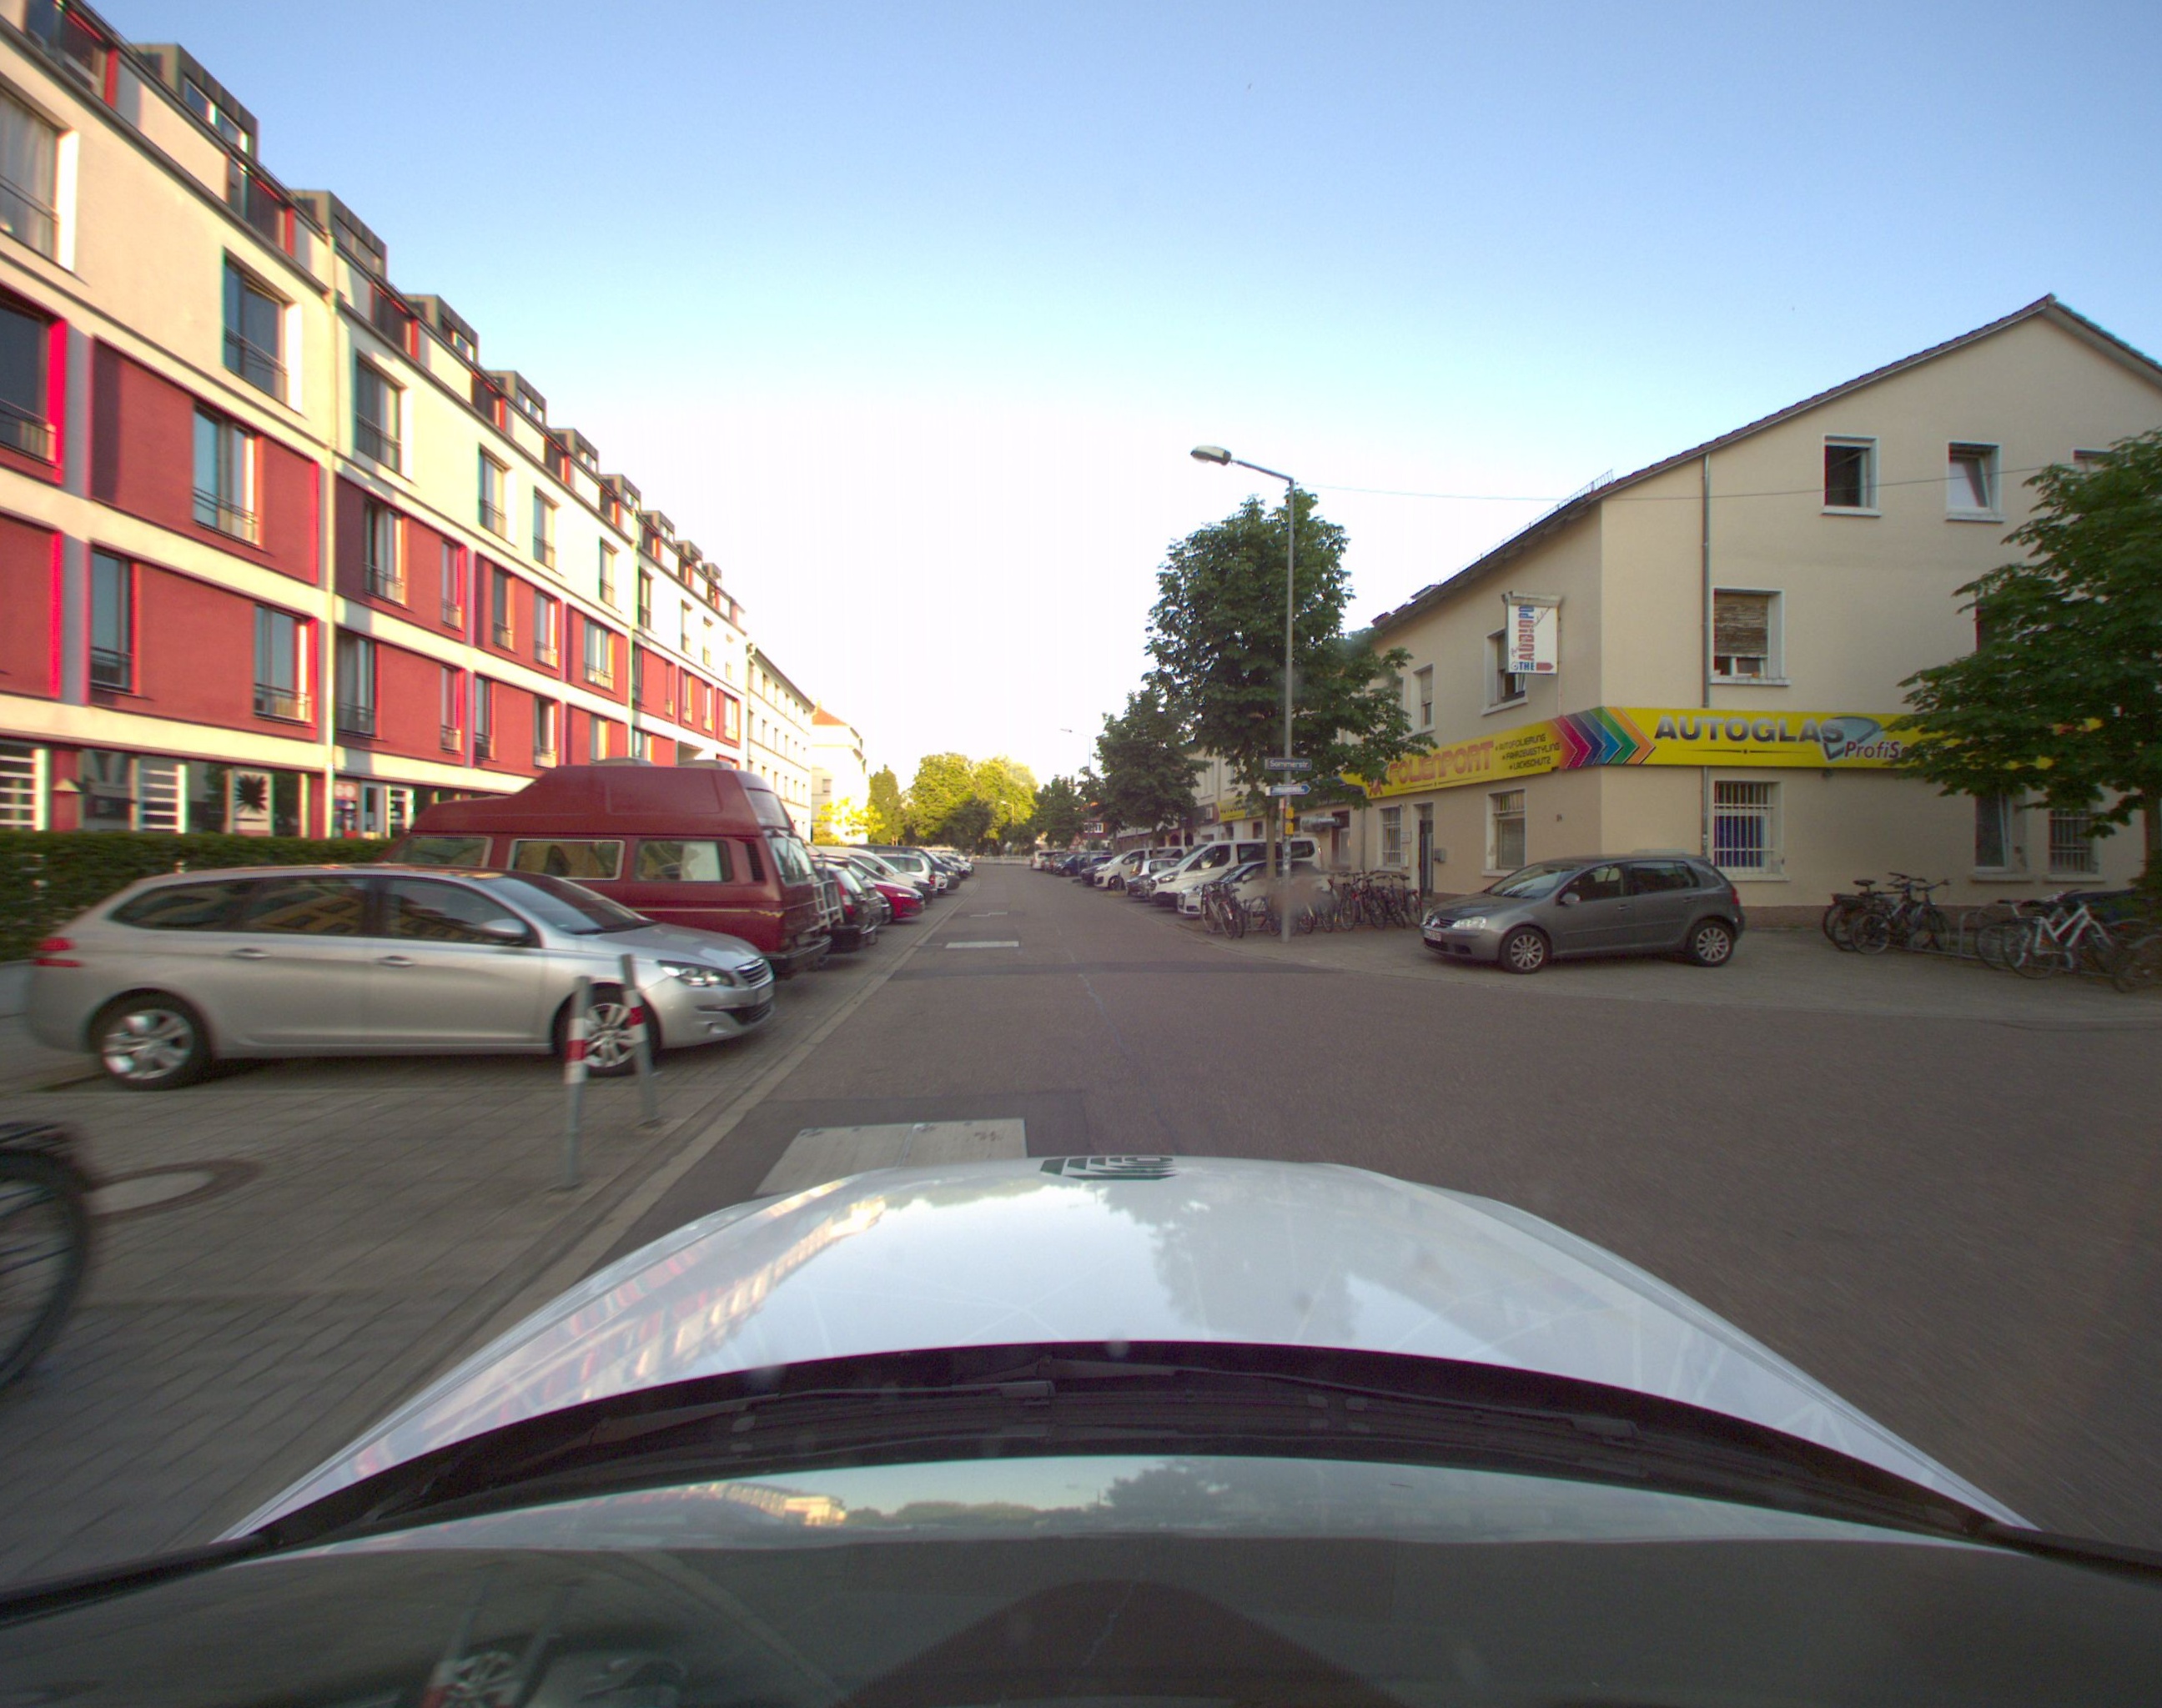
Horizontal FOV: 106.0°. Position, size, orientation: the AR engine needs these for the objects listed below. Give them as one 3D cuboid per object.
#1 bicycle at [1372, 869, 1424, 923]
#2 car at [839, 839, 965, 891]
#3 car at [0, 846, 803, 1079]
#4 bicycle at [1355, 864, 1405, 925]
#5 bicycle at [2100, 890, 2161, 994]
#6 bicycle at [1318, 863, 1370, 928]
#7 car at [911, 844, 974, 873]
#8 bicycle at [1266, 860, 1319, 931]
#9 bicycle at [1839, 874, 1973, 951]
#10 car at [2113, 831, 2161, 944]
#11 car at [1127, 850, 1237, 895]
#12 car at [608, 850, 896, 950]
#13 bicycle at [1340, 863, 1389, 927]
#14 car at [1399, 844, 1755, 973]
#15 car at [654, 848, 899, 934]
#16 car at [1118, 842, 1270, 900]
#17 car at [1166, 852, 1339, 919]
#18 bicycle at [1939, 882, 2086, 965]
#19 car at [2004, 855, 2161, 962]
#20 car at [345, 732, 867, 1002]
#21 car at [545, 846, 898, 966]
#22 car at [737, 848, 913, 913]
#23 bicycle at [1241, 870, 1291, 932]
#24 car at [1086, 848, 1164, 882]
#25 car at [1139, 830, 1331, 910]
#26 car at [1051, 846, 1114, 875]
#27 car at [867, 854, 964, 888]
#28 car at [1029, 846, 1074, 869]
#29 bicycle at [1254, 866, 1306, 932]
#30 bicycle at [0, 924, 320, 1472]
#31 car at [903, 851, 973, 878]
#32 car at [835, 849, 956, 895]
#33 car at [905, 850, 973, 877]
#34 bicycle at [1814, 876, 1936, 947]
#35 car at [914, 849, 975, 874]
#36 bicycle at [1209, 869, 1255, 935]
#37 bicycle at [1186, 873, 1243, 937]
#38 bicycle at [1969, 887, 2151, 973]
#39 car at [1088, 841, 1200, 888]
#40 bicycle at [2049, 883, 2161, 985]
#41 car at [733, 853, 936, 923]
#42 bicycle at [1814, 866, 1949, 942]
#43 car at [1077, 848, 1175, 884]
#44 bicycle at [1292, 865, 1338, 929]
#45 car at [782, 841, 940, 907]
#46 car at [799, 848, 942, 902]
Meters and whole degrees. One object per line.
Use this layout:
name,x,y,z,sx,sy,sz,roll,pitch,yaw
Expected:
bicycle,6.447,0.837,16.622,0.387,1.017,1.479,-1,0,-4
car,-7.336,0.463,33.859,4.843,2.021,1.903,1,0,-5
car,-4.788,0.719,6.378,4.613,1.460,1.875,1,0,-9
bicycle,6.047,0.793,16.541,0.352,1.143,1.479,-1,0,-4
bicycle,12.386,0.963,9.126,1.851,1.075,0.426,0,2,-13
bicycle,5.266,0.804,16.400,0.444,1.200,1.479,-1,0,-4
car,-10.514,0.327,62.144,4.526,2.134,1.997,1,0,-5
bicycle,4.258,0.794,16.500,0.385,1.304,2.014,-1,0,-4
bicycle,12.081,0.855,11.933,1.729,1.070,0.343,1,2,-6
car,18.600,0.578,11.596,1.870,1.831,4.569,-1,1,-6
car,3.834,0.678,31.389,3.904,1.526,1.936,-2,0,-4
car,-5.544,0.740,14.127,4.194,1.538,1.842,1,0,1
bicycle,5.694,0.790,16.429,0.352,1.200,1.479,-1,0,-4
car,6.852,0.688,11.496,4.043,1.514,1.754,-2,2,-4
car,-5.923,0.710,16.358,4.205,1.575,1.995,1,0,-7
car,3.899,0.563,28.585,4.935,1.742,2.046,-2,0,-4
car,4.285,0.747,20.641,3.915,1.451,1.764,-2,0,-8
bicycle,12.268,0.910,10.732,1.599,1.041,0.343,1,2,-4
car,16.386,0.780,11.299,1.739,1.509,4.562,-1,0,-7
car,-4.901,0.149,9.037,4.502,2.584,1.998,1,0,-4
car,-4.878,0.703,11.615,4.205,1.538,1.787,1,0,-7
car,-6.792,0.688,22.058,4.205,1.616,1.995,1,0,-7
bicycle,3.715,0.916,16.456,0.385,1.114,2.014,-1,0,-4
car,2.588,0.644,48.353,4.312,1.804,1.807,-2,0,-7
car,4.327,0.426,23.438,4.981,1.983,2.216,-2,0,-5
car,0.104,0.456,60.734,4.479,1.911,1.682,-2,0,-10
car,-7.776,0.802,38.518,4.250,1.505,1.997,1,0,-5
car,-2.756,0.336,76.110,3.968,1.911,2.042,-2,0,-10
bicycle,4.000,0.870,16.467,0.385,1.200,2.014,-1,0,-4
bicycle,-2.937,0.857,1.321,0.806,1.221,2.862,1,0,-3
car,-9.110,0.685,52.096,4.251,1.622,1.996,1,0,-6
car,-7.059,0.669,31.322,4.250,1.652,1.885,1,0,-5
car,-9.495,0.626,54.742,4.250,1.714,1.997,1,0,-5
bicycle,11.954,0.867,12.271,1.600,1.019,0.343,1,2,-6
car,-9.938,0.553,59.553,4.250,1.749,1.997,1,0,-5
bicycle,3.011,0.925,16.360,0.385,1.200,2.014,-1,0,-4
bicycle,2.611,0.974,16.137,0.438,1.130,2.010,-1,0,-10
bicycle,12.243,0.948,10.200,1.846,1.010,0.427,1,2,-4
car,2.936,0.491,38.509,4.939,1.958,2.044,-2,0,-7
bicycle,12.335,0.912,9.563,1.920,1.128,0.426,0,1,-13
car,-5.663,0.770,19.170,4.201,1.490,1.847,1,0,-5
bicycle,12.633,0.786,12.857,1.856,1.149,0.343,1,2,-4
car,2.360,0.613,43.415,4.939,1.689,2.072,-2,0,-7
bicycle,4.689,0.838,16.381,0.385,1.200,1.479,-1,0,-4
car,-6.507,0.579,24.528,4.250,1.836,1.997,1,0,-5
car,-6.857,0.672,26.974,4.250,1.660,1.997,1,0,-5
